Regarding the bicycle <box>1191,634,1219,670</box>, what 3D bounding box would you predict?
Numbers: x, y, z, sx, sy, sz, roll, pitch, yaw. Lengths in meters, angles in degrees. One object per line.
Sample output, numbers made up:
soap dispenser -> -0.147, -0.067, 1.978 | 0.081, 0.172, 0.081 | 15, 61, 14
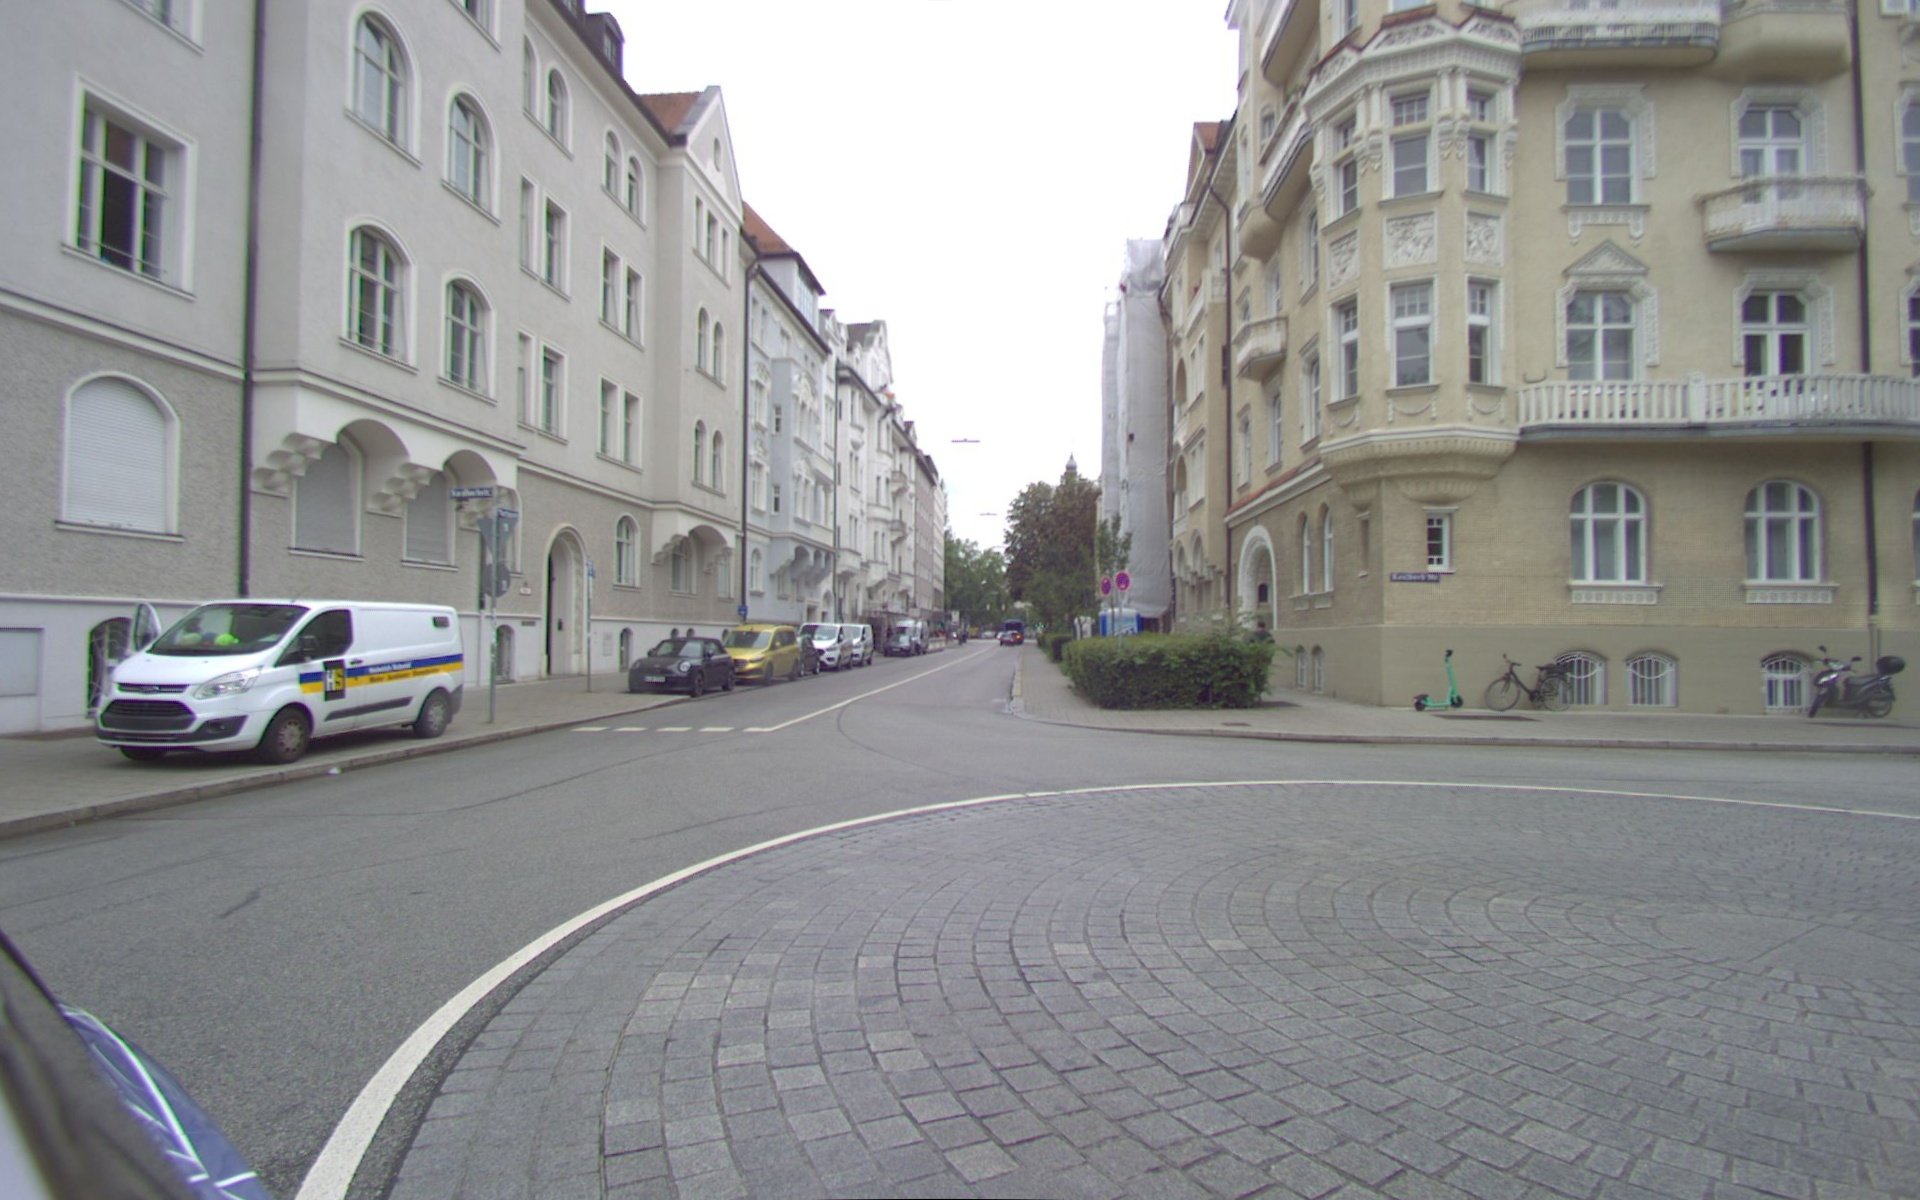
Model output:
bicycle -> 9.133, 1.932, 37.763 | 0.738, 1.285, 1.700 | 0, -2, 5

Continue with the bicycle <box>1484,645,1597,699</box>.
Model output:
bicycle -> 11.463, 1.418, 20.019 | 1.859, 1.030, 0.559 | 0, -2, 5

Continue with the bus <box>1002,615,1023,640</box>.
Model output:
bus -> 7.025, 3.623, 134.120 | 2.555, 3.124, 8.909 | 1, -2, 5

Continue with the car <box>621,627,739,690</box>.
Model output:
car -> -7.080, 1.457, 26.013 | 1.648, 1.468, 3.889 | 0, -2, 5

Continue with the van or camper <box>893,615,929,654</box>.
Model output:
van or camper -> -3.534, 2.473, 73.349 | 1.935, 2.657, 5.450 | 0, -2, 4

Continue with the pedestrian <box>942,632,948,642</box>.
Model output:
pedestrian -> -1.826, 4.450, 121.034 | 0.700, 1.246, 0.584 | 1, -2, 5

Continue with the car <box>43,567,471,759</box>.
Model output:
car -> -8.671, 0.744, 13.222 | 1.897, 1.977, 4.921 | 1, -2, 4

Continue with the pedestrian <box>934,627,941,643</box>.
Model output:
pedestrian -> -2.566, 4.017, 115.681 | 0.695, 1.746, 0.745 | 1, -2, 5

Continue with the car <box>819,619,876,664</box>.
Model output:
car -> -5.338, 1.953, 48.722 | 1.940, 2.029, 4.988 | 1, -2, 3

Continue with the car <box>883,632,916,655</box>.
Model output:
car -> -4.002, 2.872, 67.399 | 1.736, 1.445, 4.083 | 1, -2, 3

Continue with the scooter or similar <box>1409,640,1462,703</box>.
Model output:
scooter or similar -> 9.291, 1.370, 19.745 | 0.529, 1.175, 1.336 | -2, -3, 44

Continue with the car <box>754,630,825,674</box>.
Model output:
car -> -6.089, 1.838, 36.533 | 1.617, 1.495, 3.776 | 0, -2, 6

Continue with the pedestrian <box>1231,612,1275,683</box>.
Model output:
pedestrian -> 7.711, 1.239, 26.680 | 0.879, 1.824, 1.056 | 1, -2, 2

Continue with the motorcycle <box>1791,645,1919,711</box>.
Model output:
motorcycle -> 17.514, 1.467, 19.228 | 2.530, 1.189, 1.006 | 0, -2, 4

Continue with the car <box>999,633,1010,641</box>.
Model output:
car -> 8.475, 7.068, 192.955 | 1.905, 1.630, 3.993 | 0, -2, 6

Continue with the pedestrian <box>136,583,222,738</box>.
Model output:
pedestrian -> -9.922, 0.756, 12.866 | 0.591, 1.902, 0.669 | -1, -2, 34

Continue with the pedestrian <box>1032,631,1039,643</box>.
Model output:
pedestrian -> 12.754, 6.181, 170.770 | 0.944, 2.029, 1.390 | 0, -2, 14

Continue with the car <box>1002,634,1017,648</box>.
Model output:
car -> 5.923, 4.925, 121.561 | 1.751, 1.657, 4.268 | 1, -2, 4

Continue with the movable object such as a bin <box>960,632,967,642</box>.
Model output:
movable object such as a bin -> 0.414, 4.935, 134.504 | 0.865, 1.260, 0.799 | 1, -2, -1

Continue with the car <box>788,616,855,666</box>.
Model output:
car -> -5.735, 1.698, 42.509 | 1.940, 1.952, 4.988 | 1, -2, 3

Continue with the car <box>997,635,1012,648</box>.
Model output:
car -> 5.105, 4.718, 115.511 | 1.569, 1.490, 3.778 | 1, -2, 4

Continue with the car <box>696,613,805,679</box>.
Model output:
car -> -6.388, 1.400, 31.465 | 1.834, 1.867, 4.809 | 0, -2, 7
